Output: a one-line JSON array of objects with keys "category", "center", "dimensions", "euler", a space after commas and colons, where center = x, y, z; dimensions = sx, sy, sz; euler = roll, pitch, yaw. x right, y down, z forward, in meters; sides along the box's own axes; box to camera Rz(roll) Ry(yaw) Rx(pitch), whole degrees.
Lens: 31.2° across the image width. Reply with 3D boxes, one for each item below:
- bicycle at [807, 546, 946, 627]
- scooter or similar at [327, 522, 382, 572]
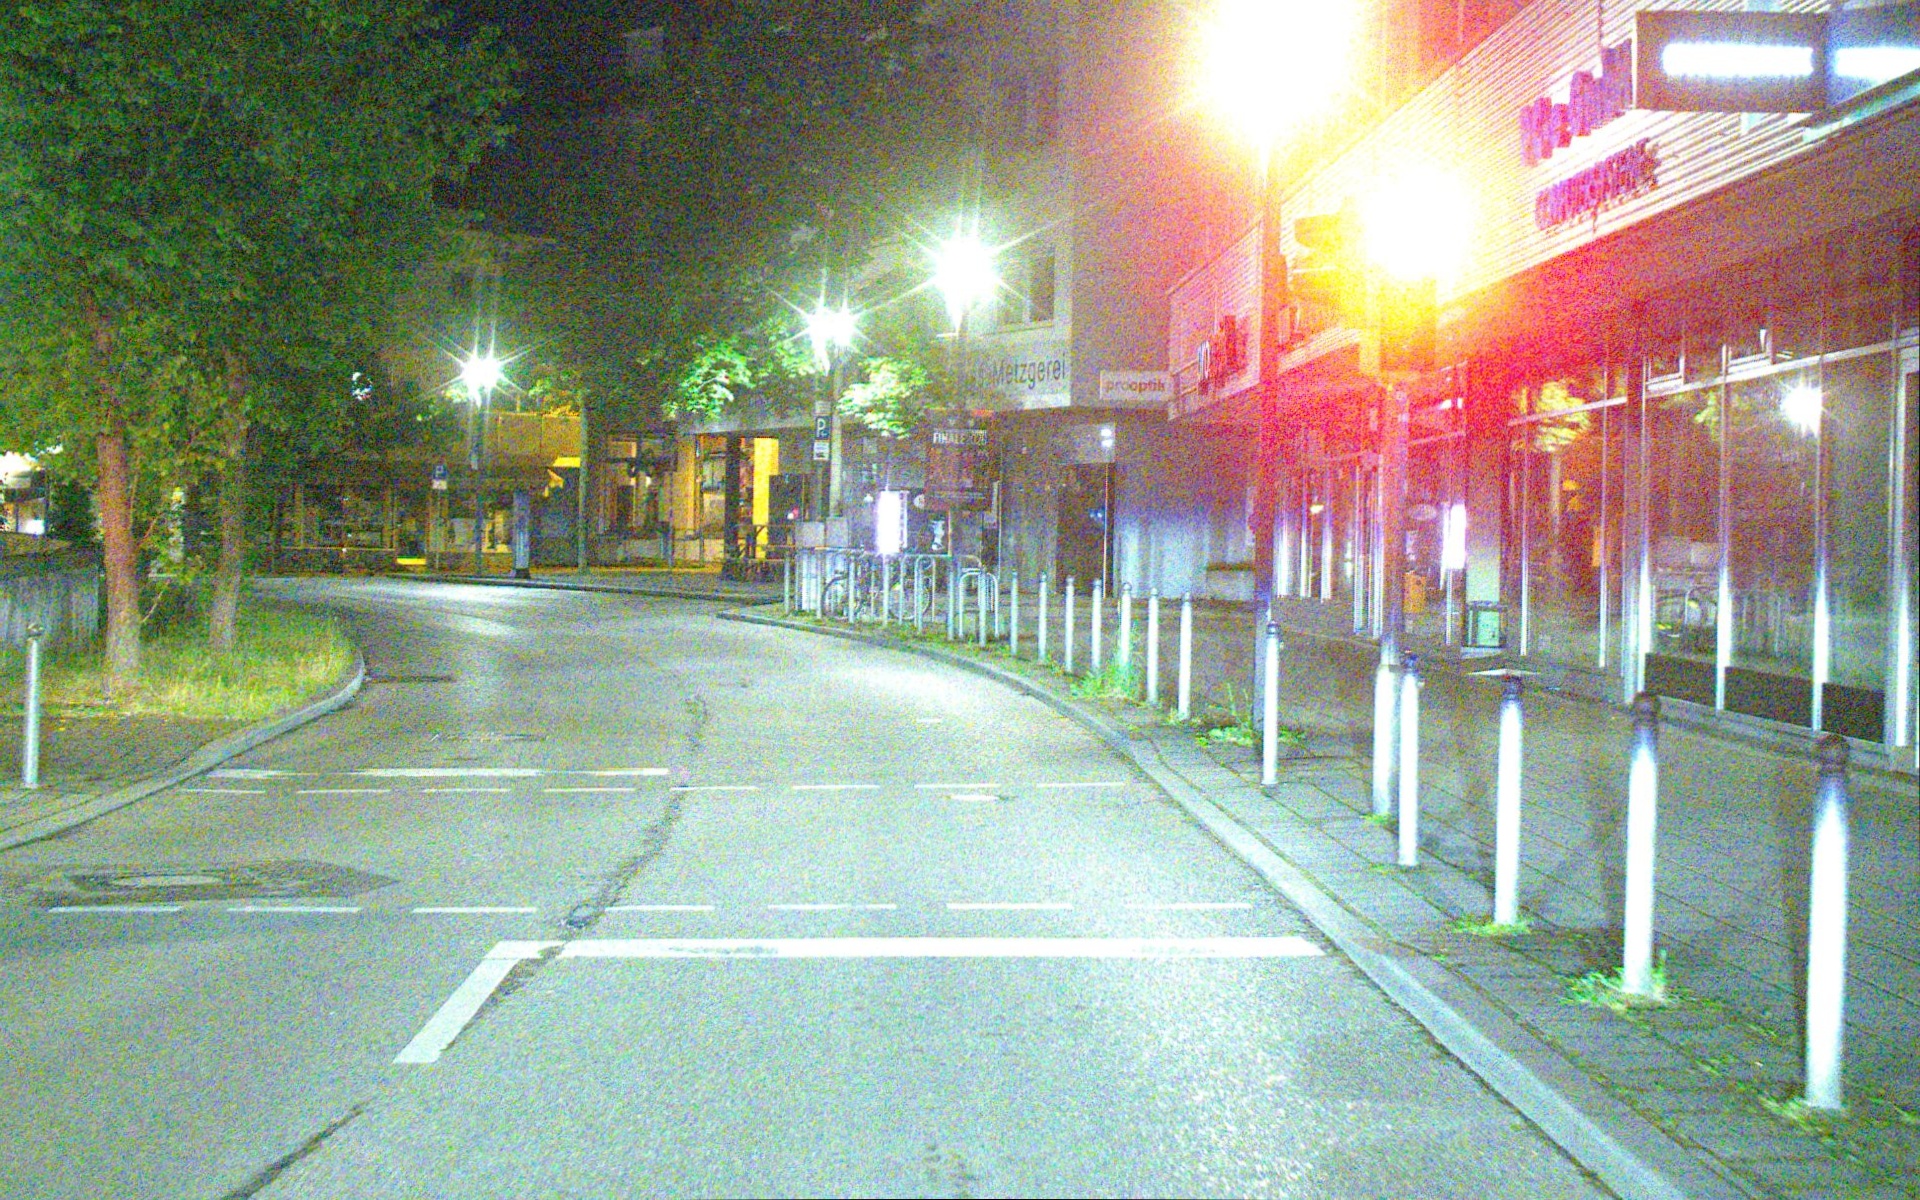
[{"category": "bicycle", "center": [-1.131, -0.183, 46.585], "dimensions": [1.749, 1.059, 0.656], "euler": [0, 2, -25]}, {"category": "scooter or similar", "center": [-15.692, -1.378, 89.089], "dimensions": [1.246, 1.223, 0.598], "euler": [2, 2, -28]}]
